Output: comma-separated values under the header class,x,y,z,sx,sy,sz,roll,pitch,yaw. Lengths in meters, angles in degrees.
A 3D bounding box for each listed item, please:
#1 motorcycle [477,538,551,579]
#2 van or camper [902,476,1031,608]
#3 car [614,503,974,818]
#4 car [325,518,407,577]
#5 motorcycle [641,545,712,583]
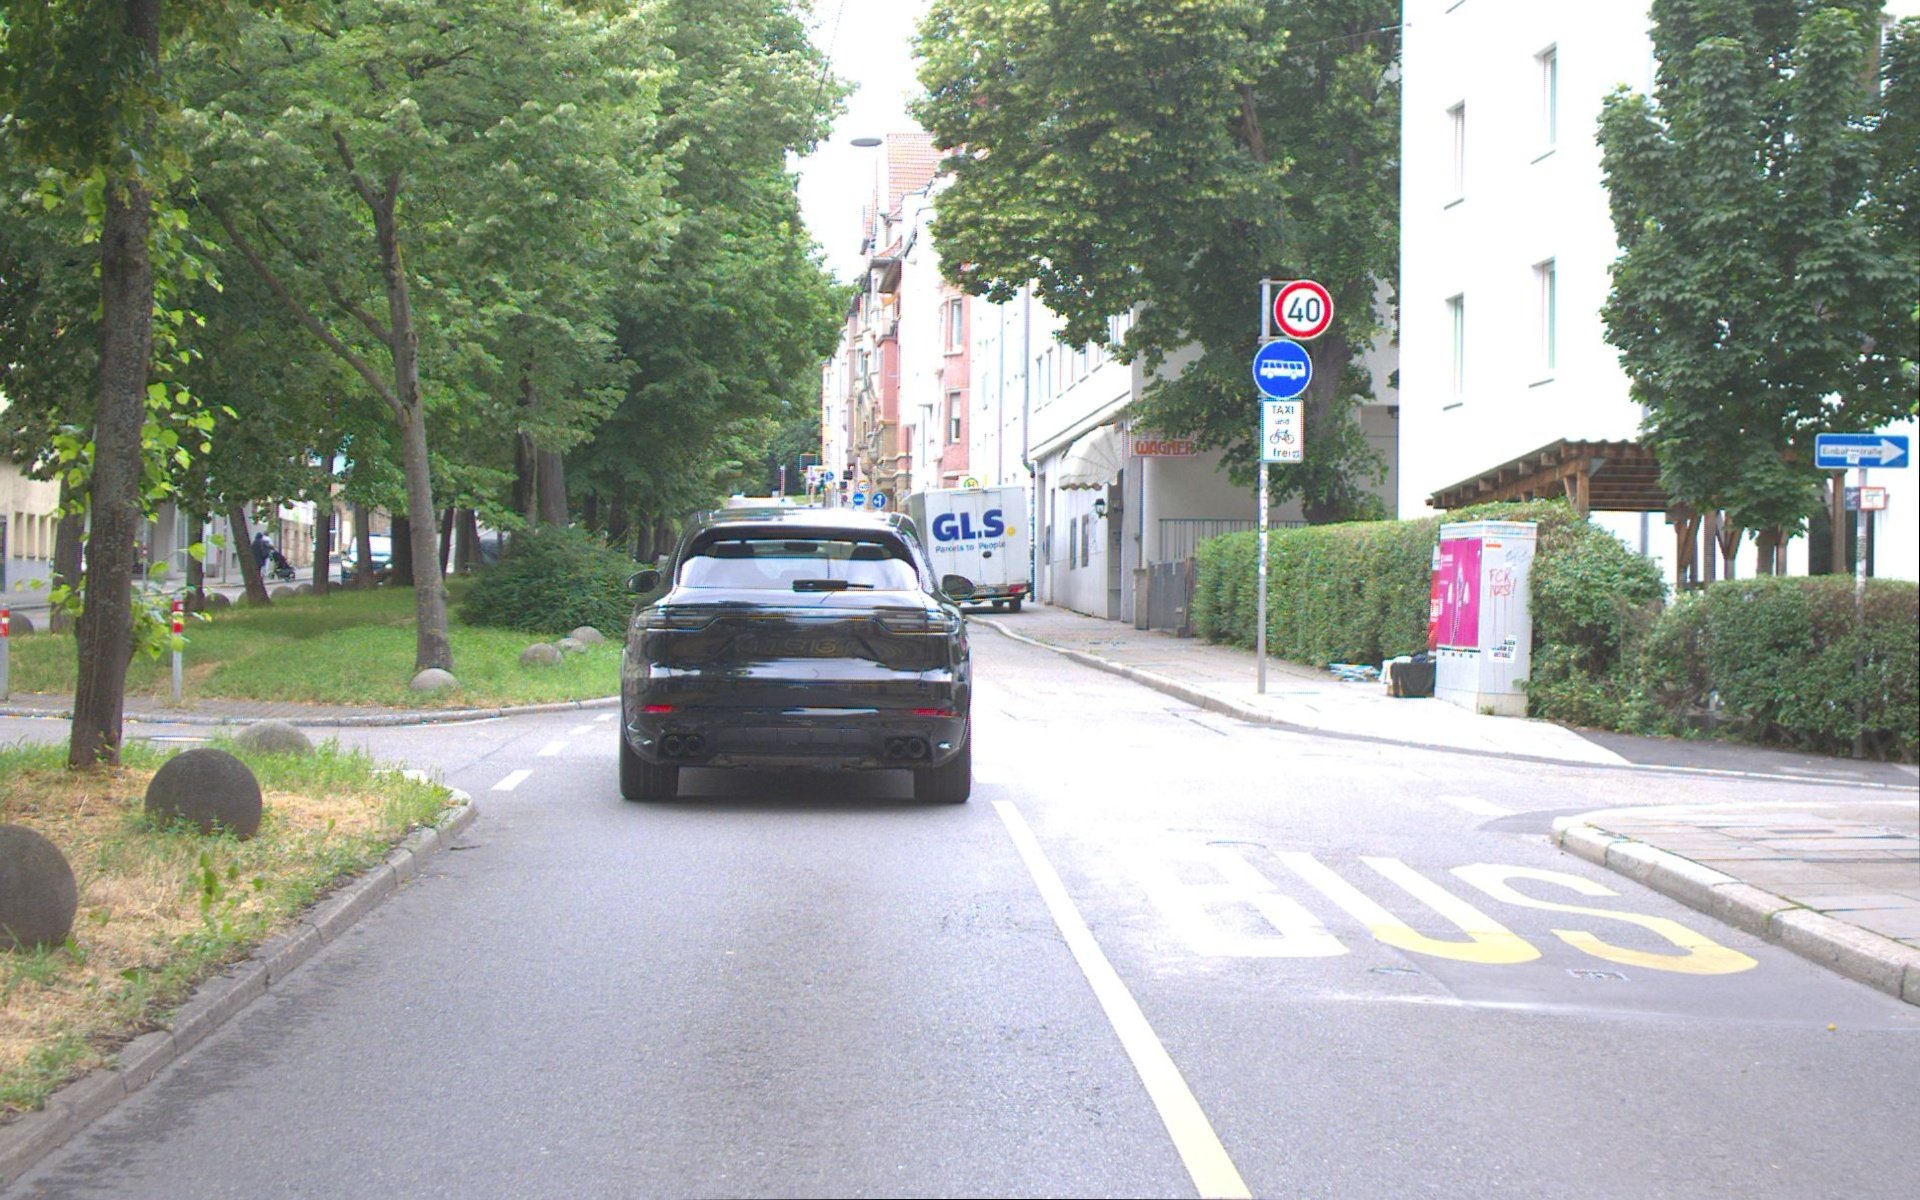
class,x,y,z,sx,sy,sz,roll,pitch,yaw
motorcycle,-14.800,-1.364,114.097,2.382,1.312,1.046,1,1,-4
van or camper,0.070,-1.298,77.372,2.480,2.793,7.239,1,1,-3
car,-1.069,0.297,20.485,1.903,1.660,4.136,1,1,-5
car,-18.434,-1.634,106.779,1.948,1.623,4.366,-6,1,-4
motorcycle,-9.629,-1.231,116.856,2.355,1.231,1.034,1,1,-5
